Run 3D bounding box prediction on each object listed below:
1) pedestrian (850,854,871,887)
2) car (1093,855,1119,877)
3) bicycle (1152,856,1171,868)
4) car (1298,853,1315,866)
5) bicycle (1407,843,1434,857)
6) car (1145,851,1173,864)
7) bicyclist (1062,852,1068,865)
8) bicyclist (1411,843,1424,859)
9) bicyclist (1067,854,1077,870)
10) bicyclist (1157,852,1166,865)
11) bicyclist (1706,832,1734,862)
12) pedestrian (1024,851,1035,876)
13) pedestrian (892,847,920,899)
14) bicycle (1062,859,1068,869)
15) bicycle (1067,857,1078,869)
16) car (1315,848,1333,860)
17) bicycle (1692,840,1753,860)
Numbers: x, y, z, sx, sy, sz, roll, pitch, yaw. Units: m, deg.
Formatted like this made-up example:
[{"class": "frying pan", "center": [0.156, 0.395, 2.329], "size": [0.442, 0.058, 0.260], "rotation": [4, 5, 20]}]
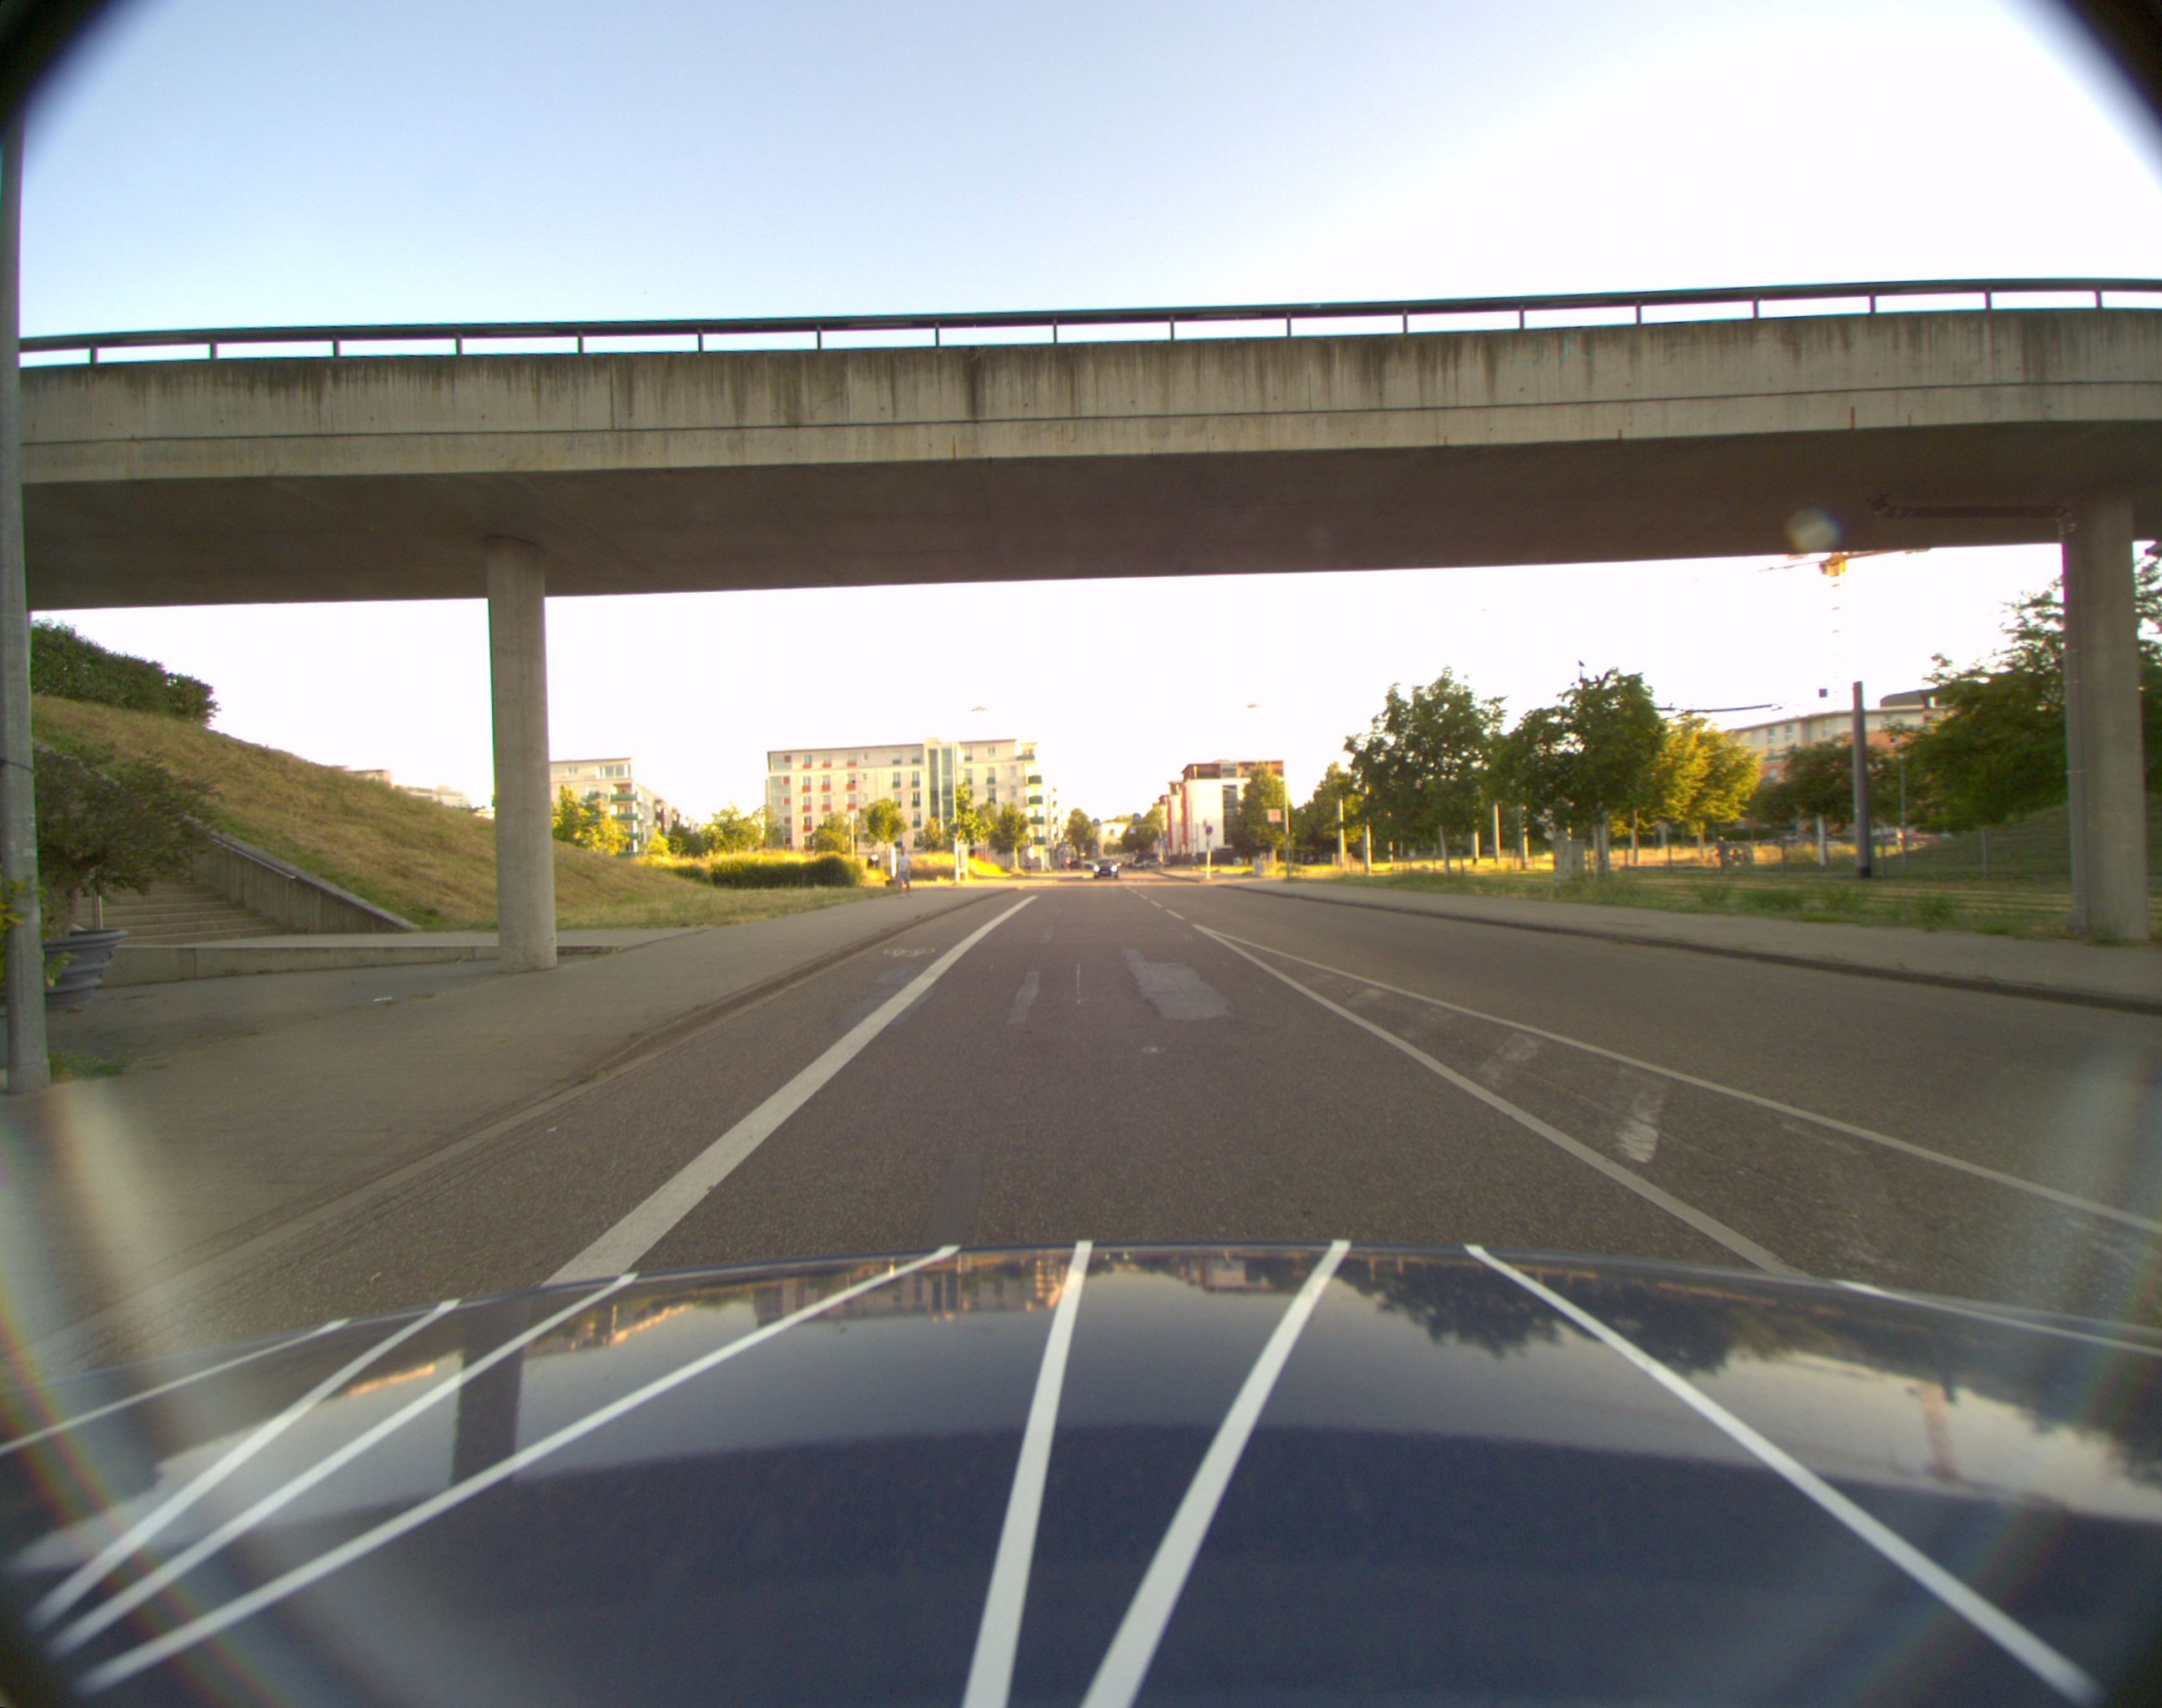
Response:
[{"class": "pedestrian", "center": [-10.872, 0.818, 37.445], "size": [0.737, 1.620, 0.859], "rotation": [0, 0, 2]}, {"class": "car", "center": [1.766, 0.808, 54.302], "size": [1.739, 1.455, 4.000], "rotation": [-2, 0, 1]}, {"class": "bicycle", "center": [10.167, 1.018, 96.330], "size": [1.019, 1.560, 3.537], "rotation": [-2, 0, -19]}, {"class": "car", "center": [28.831, 0.694, 97.257], "size": [1.942, 1.521, 4.004], "rotation": [-2, 0, 14]}, {"class": "bicycle", "center": [39.976, -0.444, 89.509], "size": [3.325, 1.483, 0.886], "rotation": [-2, 0, -24]}, {"class": "car", "center": [11.632, 0.555, 113.741], "size": [3.996, 1.718, 2.000], "rotation": [-2, 0, 2]}, {"class": "bicyclist", "center": [-1.945, 0.580, 93.901], "size": [0.697, 1.630, 0.852], "rotation": [-2, 0, -1]}, {"class": "bicyclist", "center": [39.565, -0.398, 89.352], "size": [1.036, 1.865, 0.881], "rotation": [-1, 1, -27]}, {"class": "bicyclist", "center": [-0.884, 0.778, 76.006], "size": [0.932, 1.585, 1.067], "rotation": [-2, 0, -2]}, {"class": "bicyclist", "center": [10.201, 0.553, 96.135], "size": [0.859, 1.653, 0.918], "rotation": [-2, 0, -16]}, {"class": "bicyclist", "center": [35.109, -0.368, 41.778], "size": [0.910, 1.622, 0.717], "rotation": [-2, 0, -5]}, {"class": "pedestrian", "center": [-3.488, 0.626, 51.668], "size": [0.737, 1.714, 0.532], "rotation": [0, 0, 1]}, {"class": "pedestrian", "center": [-5.983, 0.637, 25.964], "size": [0.737, 1.714, 0.906], "rotation": [0, 0, 1]}, {"class": "bicycle", "center": [-1.941, 1.259, 94.093], "size": [0.662, 1.217, 2.439], "rotation": [-2, 0, -2]}, {"class": "bicycle", "center": [-0.908, 0.907, 76.143], "size": [0.900, 1.142, 3.497], "rotation": [-2, 0, -3]}, {"class": "car", "center": [31.007, 0.002, 96.947], "size": [1.942, 1.521, 4.004], "rotation": [-2, 0, 14]}, {"class": "bicycle", "center": [35.112, -0.196, 41.614], "size": [2.842, 1.002, 0.655], "rotation": [-2, 0, -3]}]
